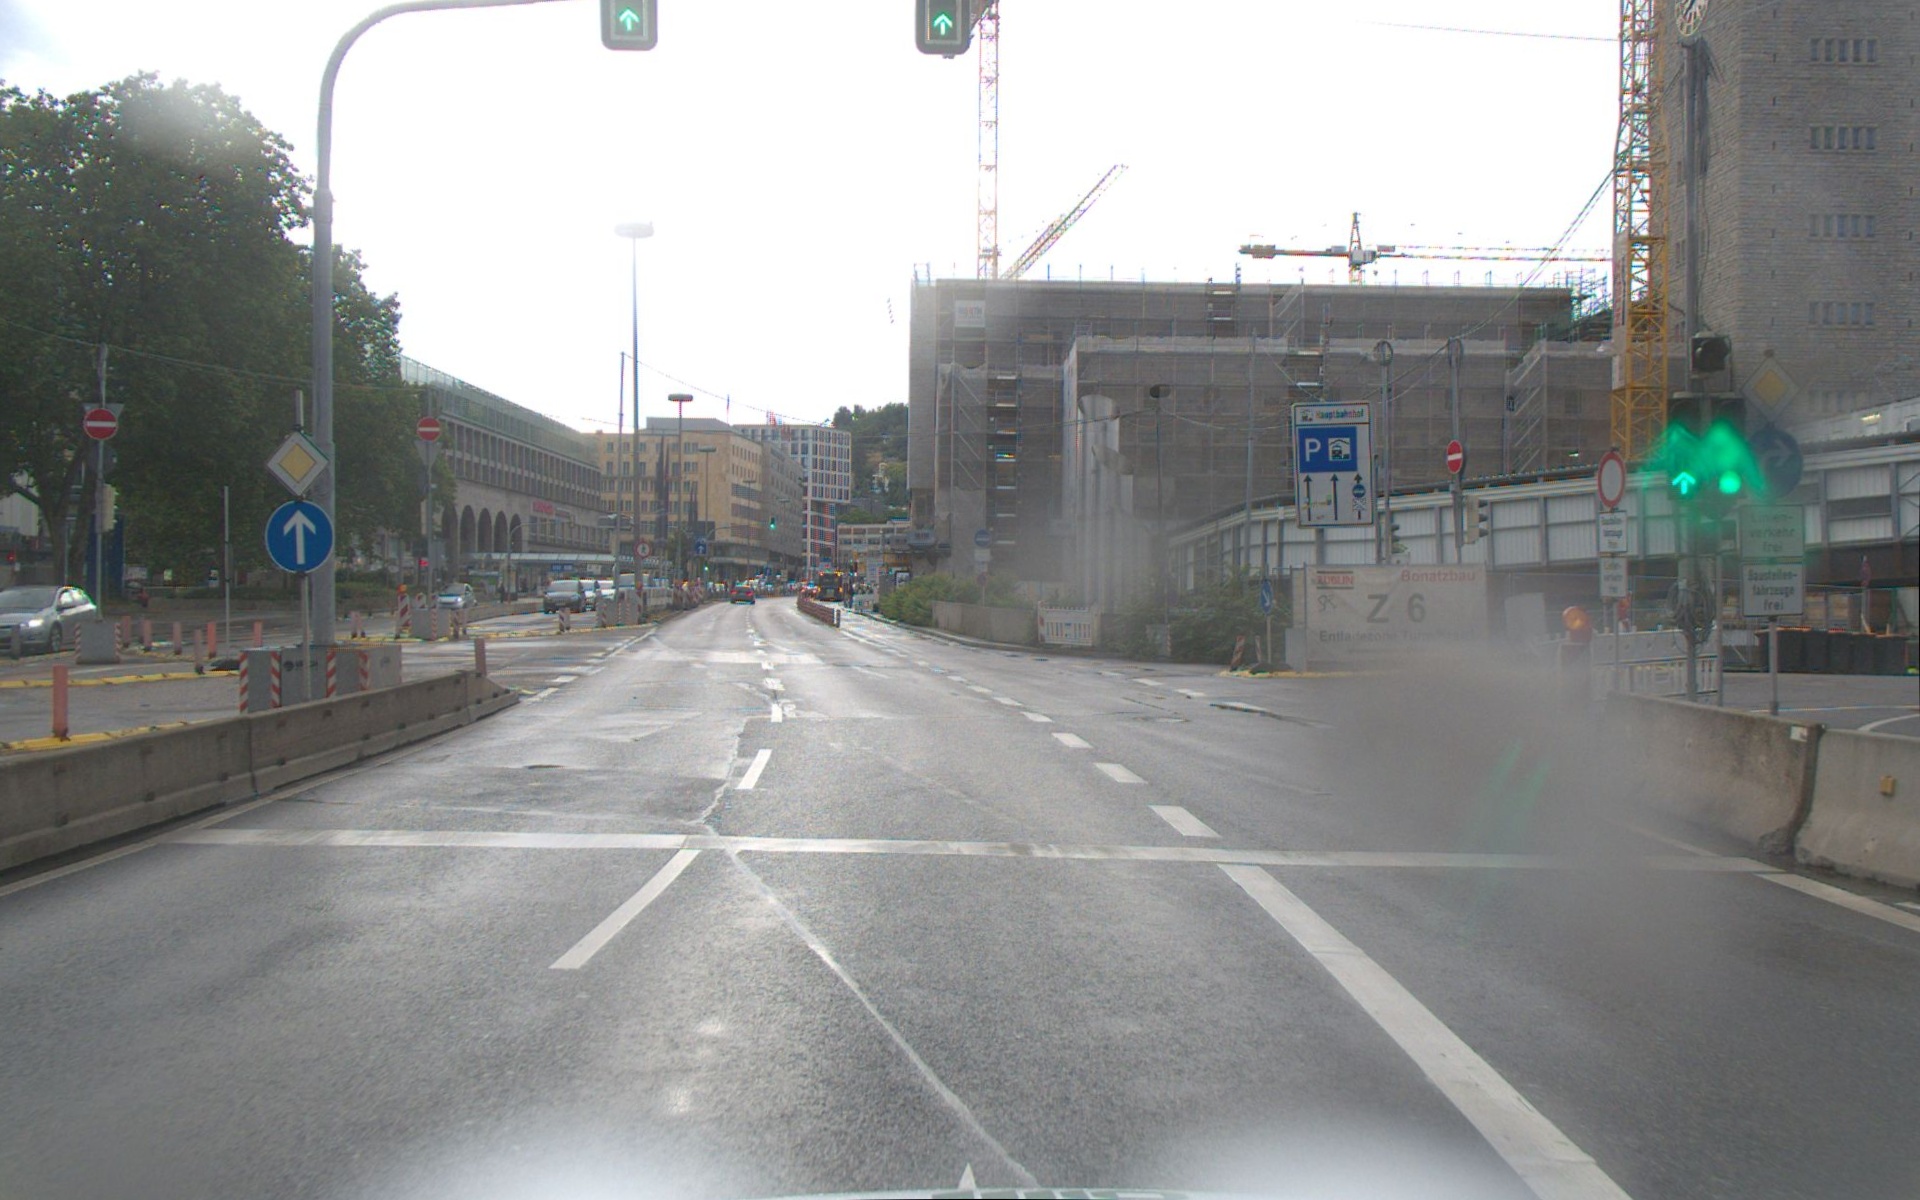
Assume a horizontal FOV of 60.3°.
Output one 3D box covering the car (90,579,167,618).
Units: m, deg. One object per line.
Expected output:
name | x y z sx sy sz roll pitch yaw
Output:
car | -37.932 -0.051 75.384 3.934 1.555 1.896 -3 -3 42

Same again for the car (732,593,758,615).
car | -16.877 0.338 129.882 1.867 1.555 4.167 -1 -2 -9

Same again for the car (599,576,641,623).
car | -16.969 0.006 82.687 1.867 2.119 4.167 -1 -2 -9

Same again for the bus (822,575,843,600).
bus | -13.696 -1.332 177.619 1.953 2.474 3.998 -1 -2 -1

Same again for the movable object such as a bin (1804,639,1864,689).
movable object such as a bin | 20.247 1.488 38.338 0.970 1.121 0.730 -1 -2 1

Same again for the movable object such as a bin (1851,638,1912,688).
movable object such as a bin | 21.311 1.460 38.264 0.970 1.121 0.730 -1 -2 1

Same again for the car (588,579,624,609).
car | -20.938 -0.349 97.944 1.867 1.555 4.167 -1 -2 -9

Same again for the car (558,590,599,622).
car | -20.466 0.330 88.787 1.867 1.555 4.167 -1 -2 -9

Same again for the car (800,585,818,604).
car | -17.814 -0.633 195.074 1.955 2.049 3.995 -1 -2 -5

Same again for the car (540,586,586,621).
car | -19.860 0.183 82.863 1.867 1.555 4.167 -1 -2 -9

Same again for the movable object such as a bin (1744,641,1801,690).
movable object such as a bin | 19.232 1.543 39.166 0.970 1.121 0.730 -1 -2 1

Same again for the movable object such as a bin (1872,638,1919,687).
movable object such as a bin | 22.197 1.466 38.981 0.970 1.121 0.730 -1 -2 1

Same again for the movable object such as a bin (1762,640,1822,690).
movable object such as a bin | 19.221 1.508 38.229 0.970 1.121 0.747 -1 -2 1

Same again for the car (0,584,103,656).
car | -20.561 0.439 36.698 1.735 1.488 4.163 -2 0 -13

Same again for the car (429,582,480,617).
car | -25.214 -0.024 82.662 1.867 1.555 4.167 -1 -2 -9
